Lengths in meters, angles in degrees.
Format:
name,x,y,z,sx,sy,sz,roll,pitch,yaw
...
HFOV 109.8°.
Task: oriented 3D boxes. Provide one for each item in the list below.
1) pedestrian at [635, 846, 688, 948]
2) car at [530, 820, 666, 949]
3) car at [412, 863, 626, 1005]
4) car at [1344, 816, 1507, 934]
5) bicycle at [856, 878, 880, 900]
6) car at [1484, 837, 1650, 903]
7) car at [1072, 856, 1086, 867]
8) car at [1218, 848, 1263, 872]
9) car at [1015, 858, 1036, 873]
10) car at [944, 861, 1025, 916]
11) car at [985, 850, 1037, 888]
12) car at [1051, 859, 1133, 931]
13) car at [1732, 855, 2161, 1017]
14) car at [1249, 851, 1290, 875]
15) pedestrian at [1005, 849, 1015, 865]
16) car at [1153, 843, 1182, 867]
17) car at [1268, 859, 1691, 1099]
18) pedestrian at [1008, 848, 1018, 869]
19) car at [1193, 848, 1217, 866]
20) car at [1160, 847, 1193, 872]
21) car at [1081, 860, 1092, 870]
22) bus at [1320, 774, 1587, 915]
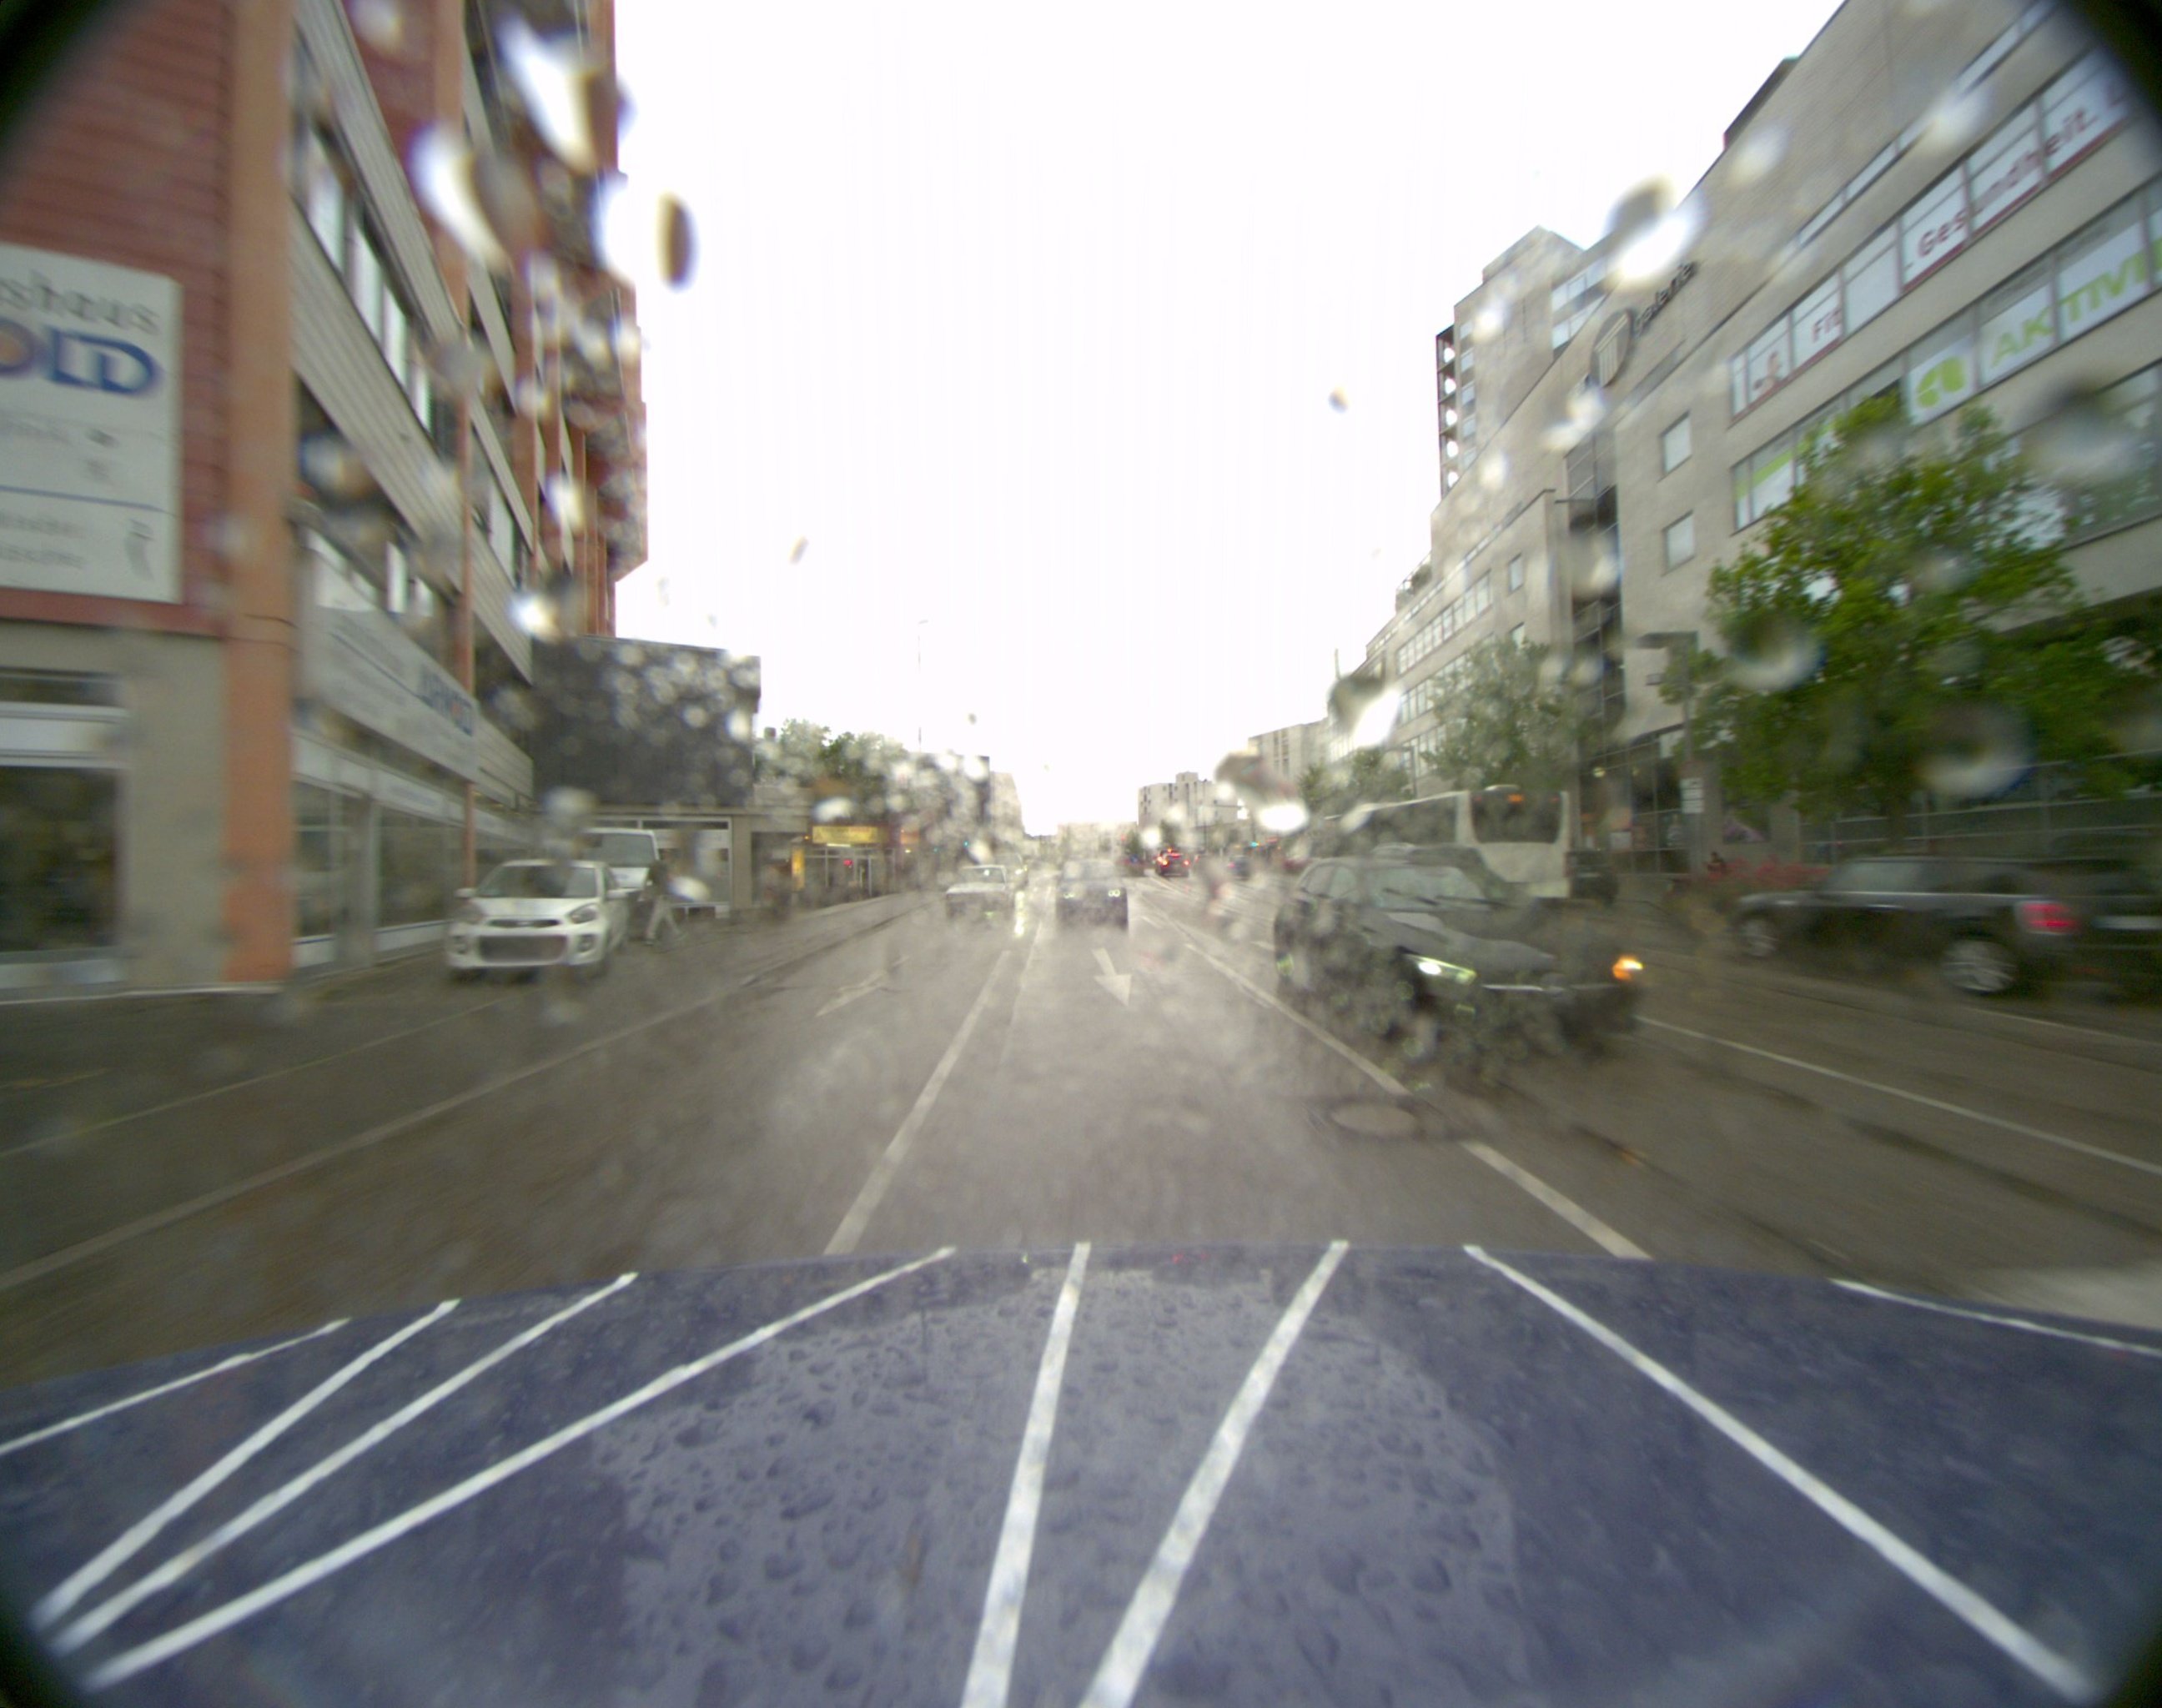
name,x,y,z,sx,sy,sz,roll,pitch,yaw
pedestrian,-7.461,0.749,13.530,0.594,1.756,0.600,-1,0,-3
car,-9.801,0.659,15.560,2.011,2.195,4.865,1,-3,-32
car,-7.269,0.899,10.194,1.618,1.453,3.416,-2,1,-25
car,6.657,0.334,15.196,1.637,2.002,4.285,-1,1,5
bicycle,-9.797,1.602,34.955,0.532,0.932,1.573,1,0,-37
car,12.808,0.357,20.376,1.998,1.587,4.000,-1,1,2
car,-0.217,0.820,88.669,1.326,1.178,2.823,-1,1,4
car,9.129,0.289,43.792,1.901,1.249,4.194,-1,1,3
car,-6.125,1.239,84.359,1.854,1.491,3.905,-1,1,2
car,-2.670,0.916,21.837,1.662,1.300,3.995,-1,1,2
car,-3.393,0.692,37.798,2.058,1.638,4.479,-1,1,1
car,0.295,0.879,17.924,1.688,1.373,3.793,-2,1,2
car,9.525,0.729,8.440,1.644,1.330,3.601,-1,1,3
car,11.565,0.501,46.860,1.635,1.338,4.705,0,1,4
pedestrian,-6.067,0.237,64.996,0.687,1.372,0.772,2,2,9
car,6.721,0.023,59.351,1.867,1.780,4.000,1,1,2
car,3.097,0.827,7.018,1.720,1.442,4.197,-1,1,0
pedestrian,-5.892,0.345,66.074,0.687,1.793,0.797,2,2,9
car,9.734,0.232,59.763,1.568,1.367,3.282,0,1,4
car,6.116,0.308,48.997,1.711,1.508,4.392,-1,1,2
car,0.763,1.484,104.852,1.394,1.316,2.862,-1,1,2
bus,10.177,-0.304,22.919,2.898,3.081,12.000,-1,1,4
